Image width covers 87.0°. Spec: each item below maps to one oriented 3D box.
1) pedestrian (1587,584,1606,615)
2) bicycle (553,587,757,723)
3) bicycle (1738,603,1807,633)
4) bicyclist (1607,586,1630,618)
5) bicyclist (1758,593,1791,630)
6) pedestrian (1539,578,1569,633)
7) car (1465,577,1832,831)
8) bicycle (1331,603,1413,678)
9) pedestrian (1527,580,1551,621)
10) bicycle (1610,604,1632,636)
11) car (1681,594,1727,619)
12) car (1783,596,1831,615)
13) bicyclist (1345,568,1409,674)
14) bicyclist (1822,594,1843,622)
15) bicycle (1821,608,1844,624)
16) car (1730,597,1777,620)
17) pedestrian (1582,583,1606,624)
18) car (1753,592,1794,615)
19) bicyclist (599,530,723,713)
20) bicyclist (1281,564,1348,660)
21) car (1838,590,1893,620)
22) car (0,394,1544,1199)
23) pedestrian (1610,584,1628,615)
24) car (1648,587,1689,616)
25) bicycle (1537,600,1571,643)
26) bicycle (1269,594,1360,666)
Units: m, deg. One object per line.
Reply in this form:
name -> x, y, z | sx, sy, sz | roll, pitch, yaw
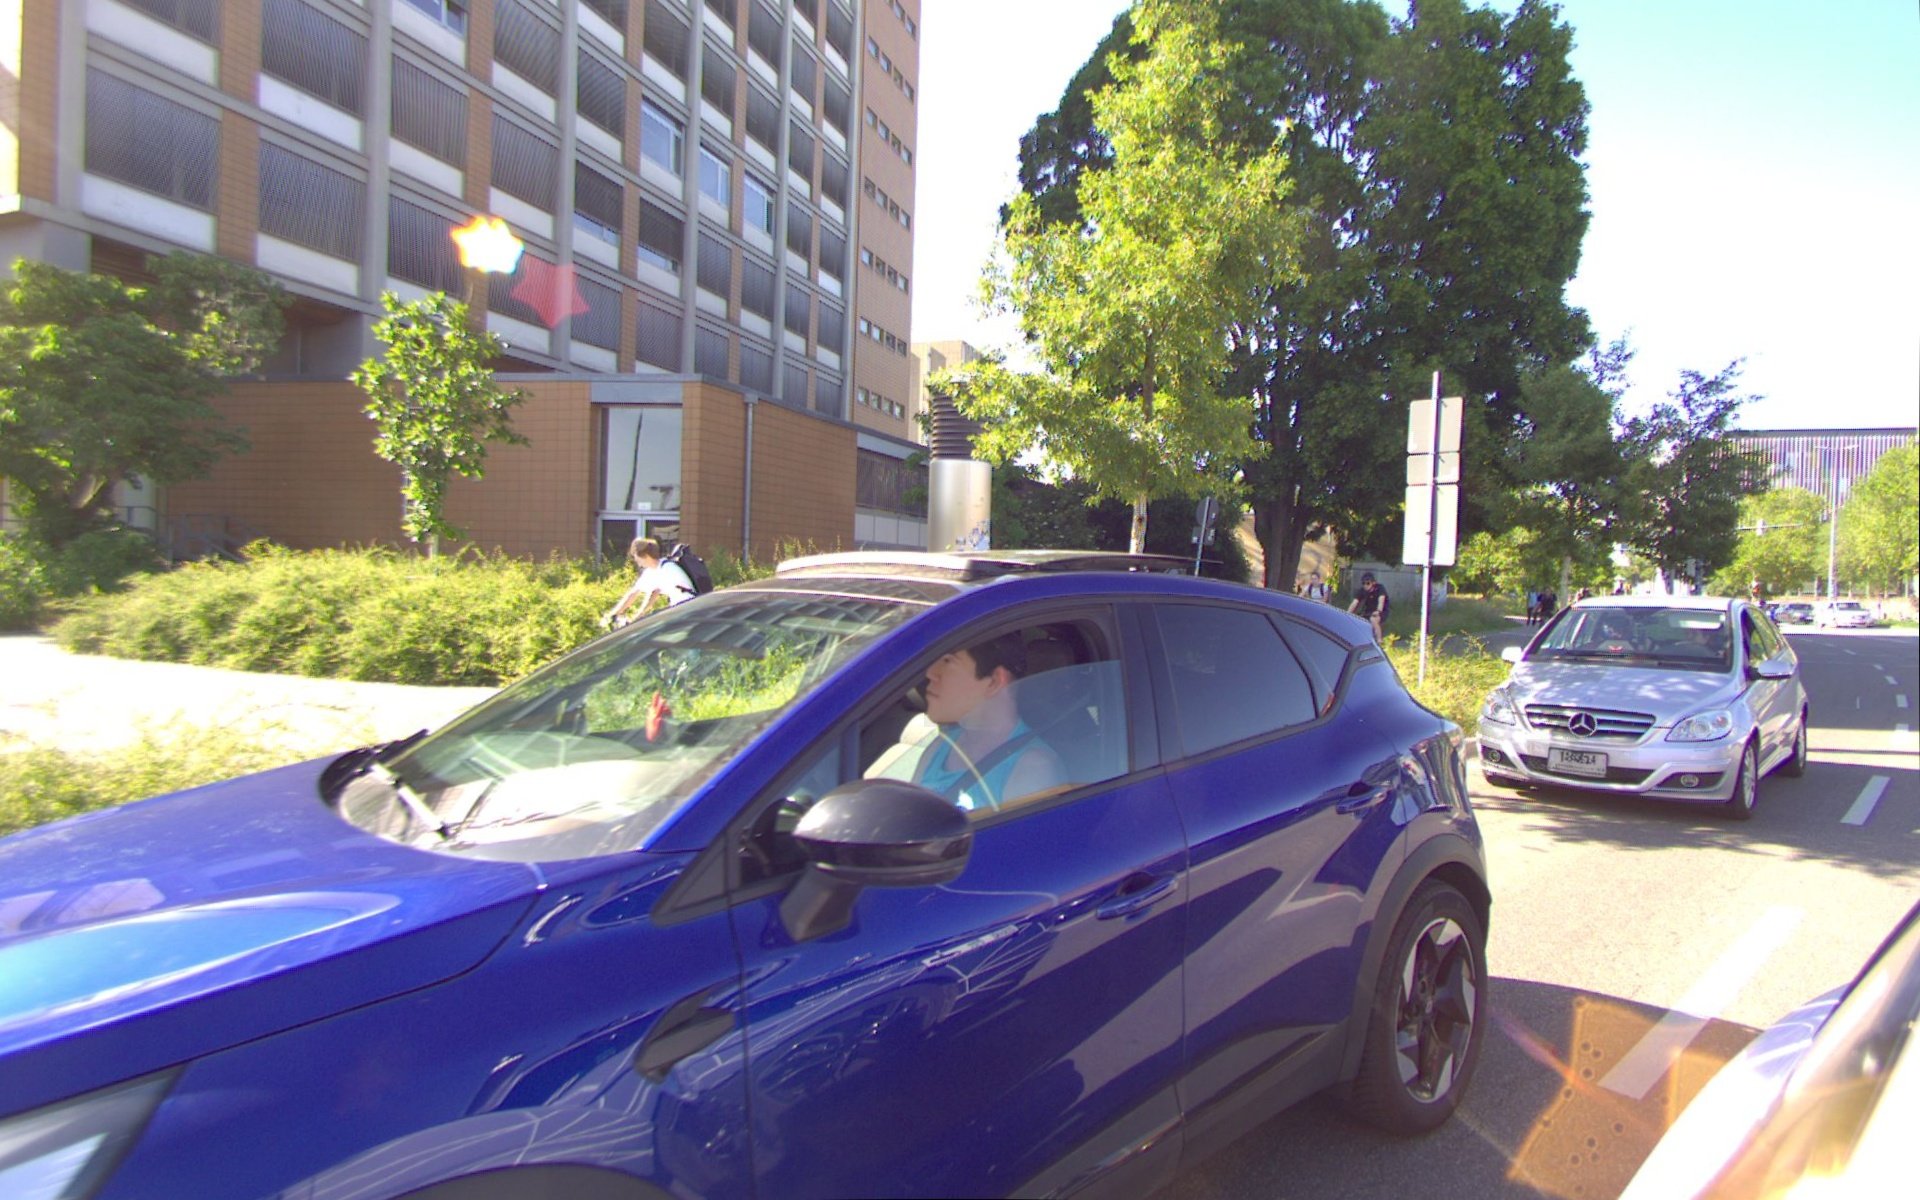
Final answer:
pedestrian -> 40.004, -0.038, 63.613 | 0.812, 1.941, 0.766 | 0, 0, 21
bicycle -> -2.774, 0.467, 9.321 | 1.710, 1.139, 0.572 | 1, 0, -42
bicycle -> 33.737, 0.740, 42.047 | 2.100, 1.189, 0.760 | 1, 0, 22
bicyclist -> 27.642, 0.069, 42.490 | 0.718, 1.294, 0.896 | 4, 3, 34
bicyclist -> 33.810, 0.456, 42.021 | 0.837, 1.492, 0.760 | 2, 1, 22
pedestrian -> 15.838, 0.132, 26.980 | 0.515, 1.419, 0.948 | 4, 3, 38
car -> 5.978, 0.665, 8.590 | 3.976, 1.645, 1.783 | 0, 1, -44
bicycle -> 6.675, 0.618, 16.352 | 0.625, 1.128, 1.822 | 2, 1, 42
pedestrian -> 23.324, -0.001, 40.790 | 0.685, 1.624, 0.657 | 2, 1, 21
bicycle -> 27.758, 0.834, 42.486 | 0.687, 1.232, 1.813 | 4, 3, 33
car -> 46.215, 0.403, 62.929 | 1.736, 1.494, 3.540 | 0, 0, 27
car -> 57.078, 0.360, 68.274 | 1.570, 1.219, 3.964 | 1, 1, 26
bicyclist -> 6.783, 0.326, 16.460 | 0.625, 1.658, 0.980 | 2, 1, 42
bicyclist -> 49.603, 0.435, 57.546 | 0.688, 1.578, 0.808 | 0, 0, 27
bicycle -> 49.625, 0.891, 57.579 | 0.584, 0.901, 1.639 | 0, 0, 26
car -> 49.967, 0.524, 63.814 | 1.737, 1.396, 3.538 | 1, 1, 29
pedestrian -> 25.630, 0.143, 40.914 | 0.685, 1.624, 0.657 | 2, 1, 21
car -> 59.855, 0.243, 74.478 | 1.579, 1.625, 3.046 | 2, 1, 24
bicyclist -> -2.751, 0.182, 9.334 | 0.930, 1.588, 0.572 | 1, 0, -42
bicyclist -> 6.263, 0.200, 17.866 | 0.960, 1.618, 0.686 | 1, 2, -43
car -> 53.556, 0.267, 59.883 | 1.510, 1.701, 3.351 | 1, 0, 25
car -> -0.250, 0.612, 2.586 | 4.010, 1.626, 1.705 | 1, 1, -39
pedestrian -> 41.024, -0.036, 63.004 | 0.812, 1.941, 0.766 | 0, 0, 21
car -> 48.526, 0.053, 69.390 | 1.812, 1.876, 3.715 | 2, 1, 28
bicycle -> 15.851, 0.555, 26.998 | 0.515, 1.057, 1.744 | 4, 3, 38
bicycle -> 6.290, 0.511, 17.911 | 1.851, 1.178, 0.686 | 1, 2, -43
